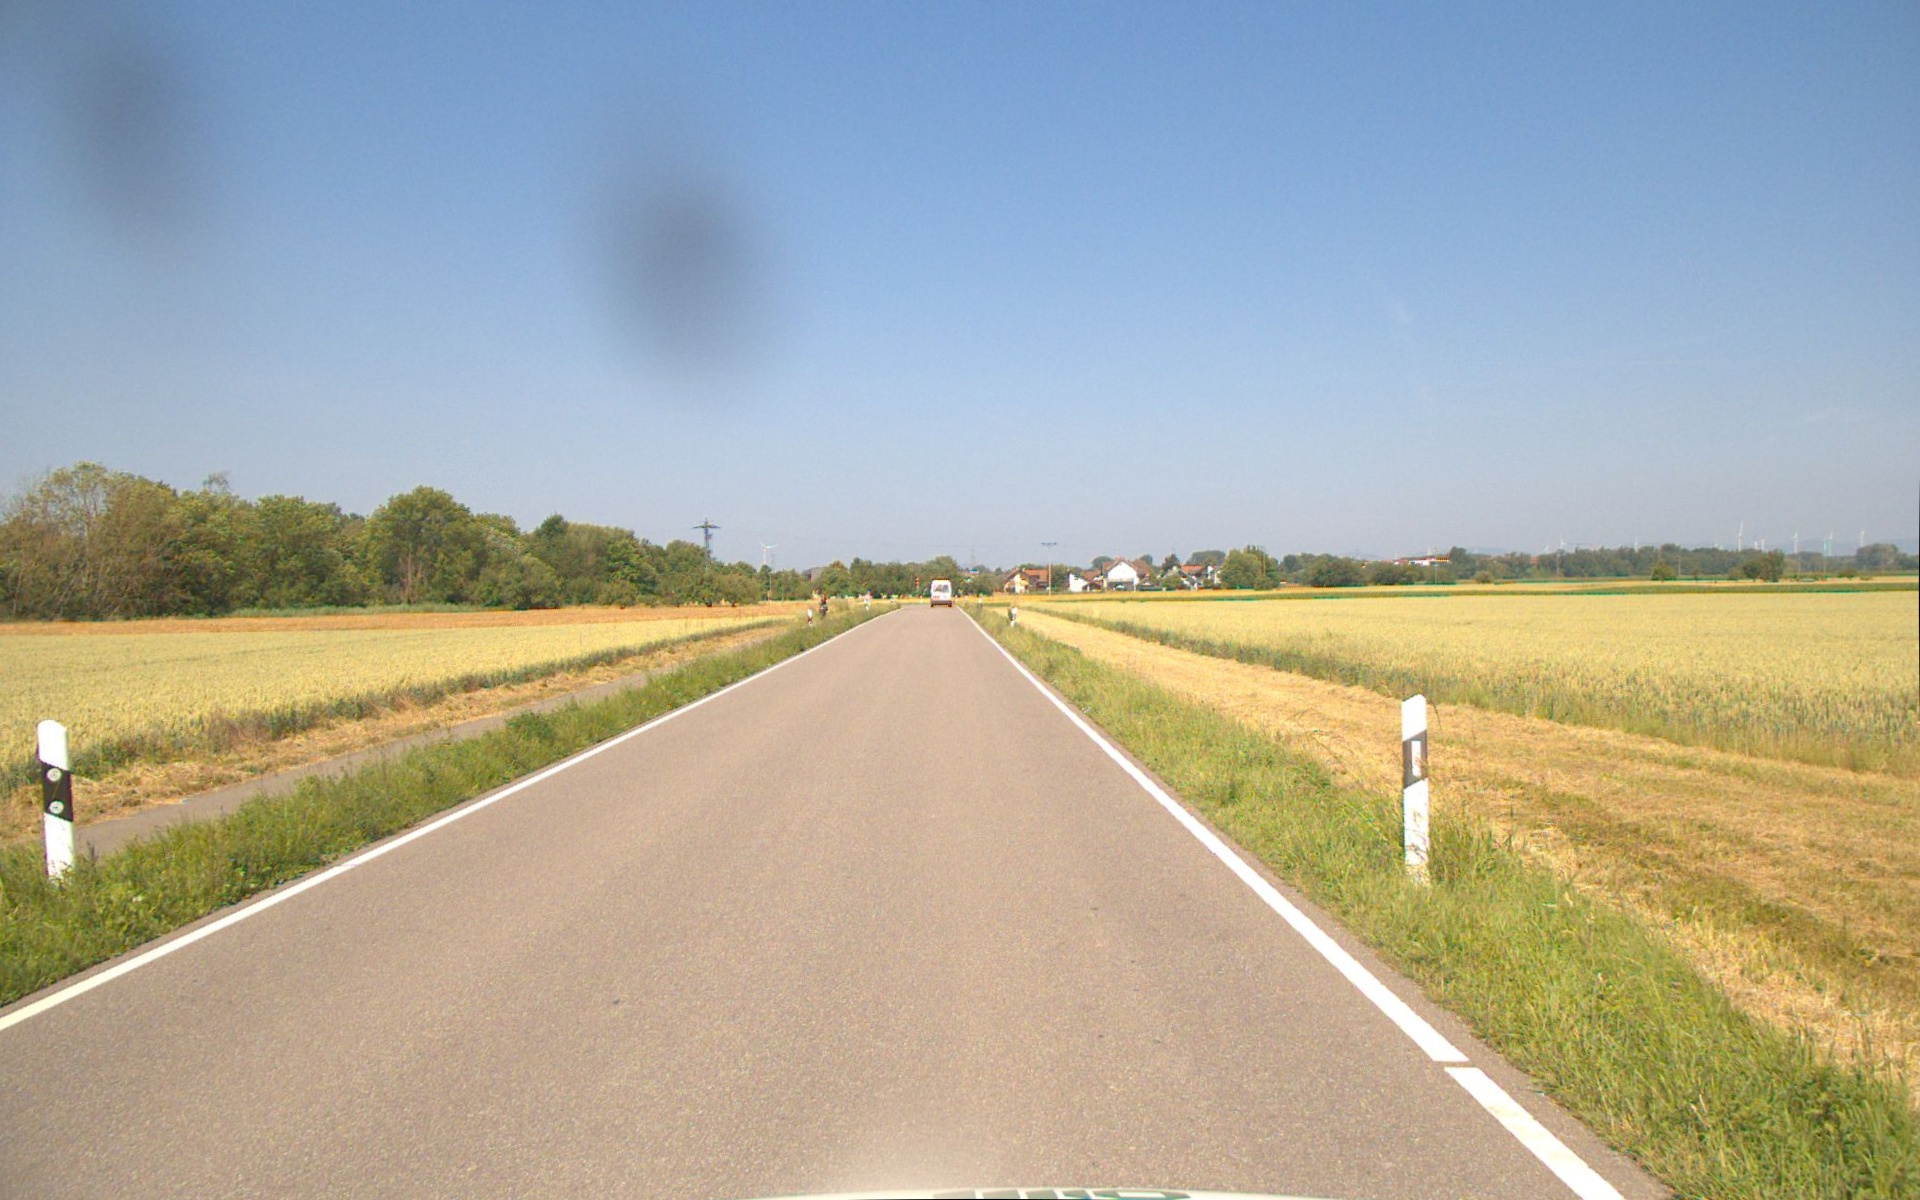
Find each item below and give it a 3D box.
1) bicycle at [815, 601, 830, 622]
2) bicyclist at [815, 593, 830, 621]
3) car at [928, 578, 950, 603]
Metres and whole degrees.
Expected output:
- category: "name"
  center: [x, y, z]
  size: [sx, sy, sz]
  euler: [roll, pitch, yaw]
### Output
- category: "bicycle"
  center: [-8.563, 0.708, 103.181]
  size: [0.744, 1.257, 2.393]
  euler: [-3, 0, -1]
- category: "bicyclist"
  center: [-8.562, 0.445, 103.103]
  size: [0.744, 1.702, 1.088]
  euler: [-2, 0, -1]
- category: "car"
  center: [-1.983, -0.876, 157.130]
  size: [2.064, 2.344, 5.494]
  euler: [1, 0, -1]
